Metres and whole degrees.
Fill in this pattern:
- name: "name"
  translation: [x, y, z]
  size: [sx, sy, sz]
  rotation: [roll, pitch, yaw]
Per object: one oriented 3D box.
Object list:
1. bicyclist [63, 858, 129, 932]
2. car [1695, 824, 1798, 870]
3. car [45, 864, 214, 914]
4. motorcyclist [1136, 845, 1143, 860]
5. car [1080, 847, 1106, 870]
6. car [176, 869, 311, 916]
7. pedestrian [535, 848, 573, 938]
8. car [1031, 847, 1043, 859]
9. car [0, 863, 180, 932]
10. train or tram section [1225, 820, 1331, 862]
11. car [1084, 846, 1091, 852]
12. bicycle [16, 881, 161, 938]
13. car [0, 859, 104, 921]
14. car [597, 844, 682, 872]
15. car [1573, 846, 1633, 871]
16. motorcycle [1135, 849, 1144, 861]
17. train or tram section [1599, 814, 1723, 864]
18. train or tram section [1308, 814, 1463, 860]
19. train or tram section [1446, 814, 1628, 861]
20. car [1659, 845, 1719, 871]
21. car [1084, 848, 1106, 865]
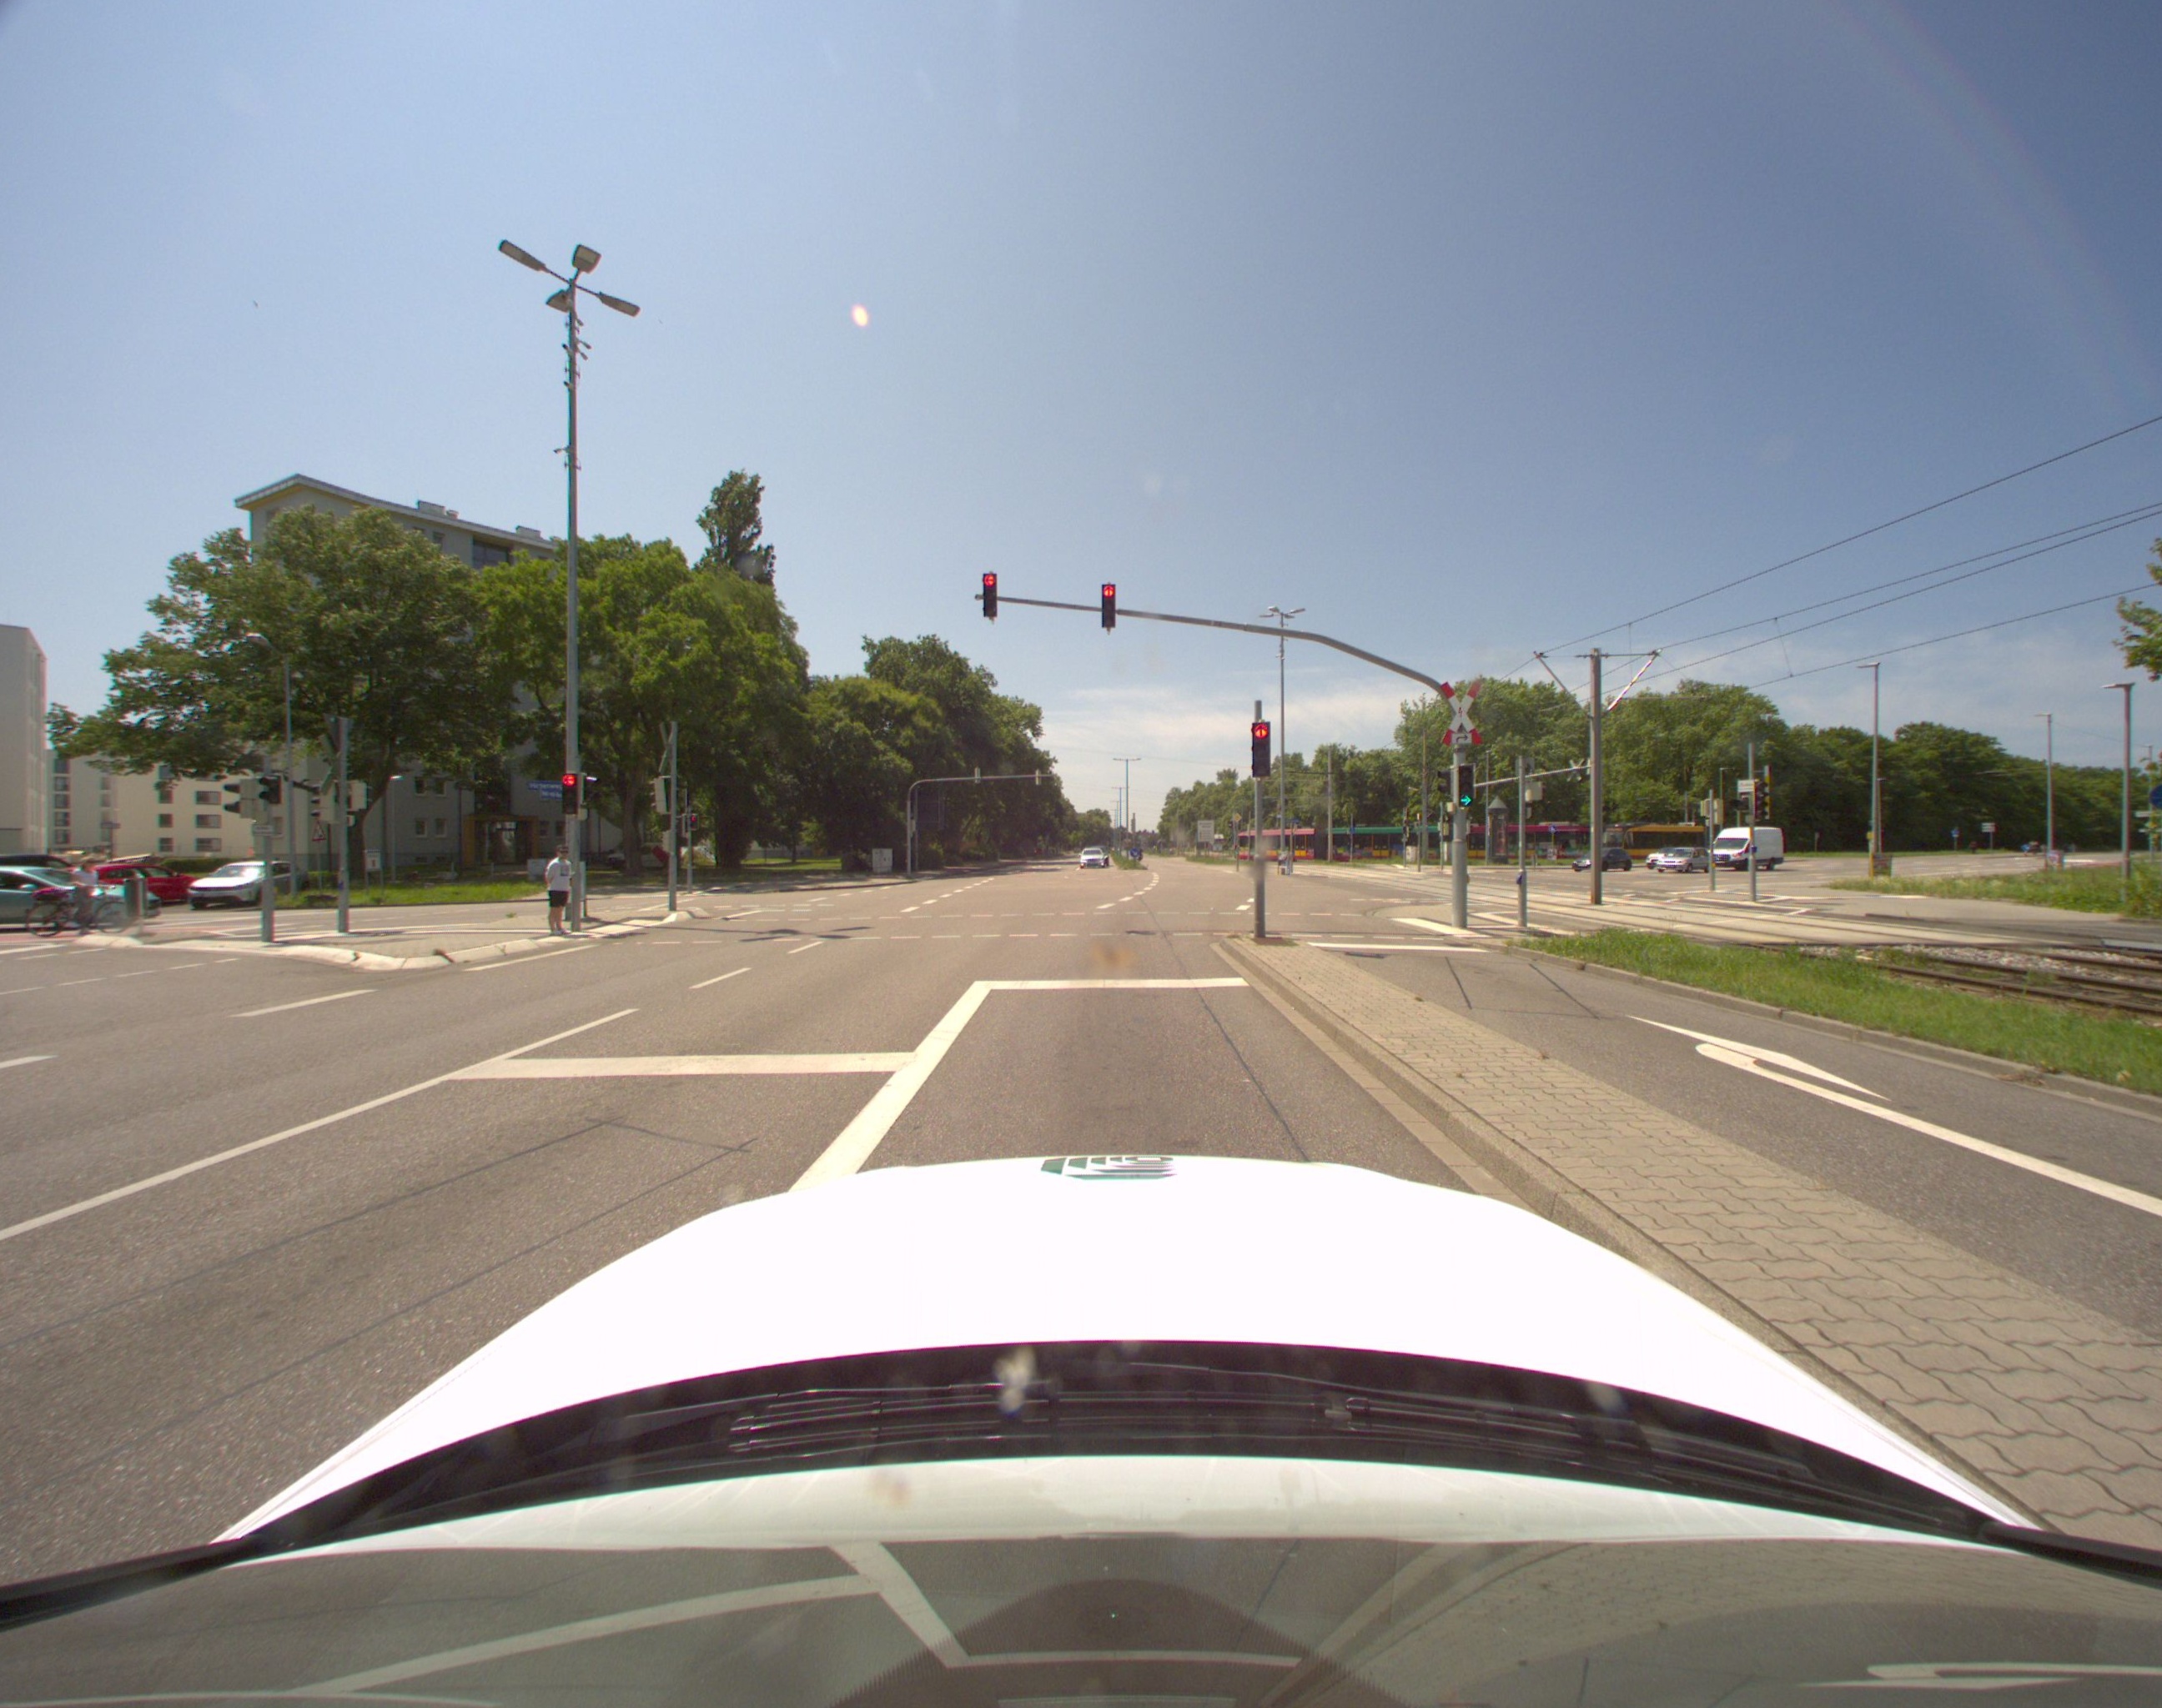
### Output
- name: "bicyclist"
  translation: [-21.044, 0.859, 17.416]
  size: [0.666, 1.537, 0.627]
  rotation: [0, 0, -21]
- name: "car"
  translation: [42.511, -0.454, 51.965]
  size: [7.305, 2.802, 2.691]
  rotation: [-1, 0, -30]
- name: "car"
  translation: [-31.517, 1.102, 27.159]
  size: [1.620, 1.464, 3.981]
  rotation: [1, 0, -14]
- name: "motorcyclist"
  translation: [6.527, -0.213, 90.992]
  size: [0.787, 1.643, 1.212]
  rotation: [1, 0, 3]
- name: "car"
  translation: [0.905, 0.294, 60.148]
  size: [1.777, 1.628, 3.868]
  rotation: [0, 0, 2]
- name: "car"
  translation: [-28.790, 1.271, 28.181]
  size: [1.629, 1.380, 3.974]
  rotation: [1, 0, -19]
- name: "pedestrian"
  translation: [-10.018, 0.727, 15.491]
  size: [0.381, 1.687, 0.485]
  rotation: [0, 0, -2]
- name: "car"
  translation: [-8.081, -0.143, 151.057]
  size: [1.988, 2.013, 3.998]
  rotation: [3, 0, -1]
- name: "car"
  translation: [-24.102, 0.992, 18.881]
  size: [3.901, 1.468, 1.762]
  rotation: [-1, 0, -23]
- name: "train or tram section"
  translation: [20.299, -1.195, 85.223]
  size: [2.931, 3.812, 12.952]
  rotation: [2, -3, -28]
- name: "car"
  translation: [1.547, -1.316, 201.641]
  size: [1.664, 1.490, 3.713]
  rotation: [0, 0, 2]
- name: "bicycle"
  translation: [-21.139, 1.162, 17.385]
  size: [1.870, 1.093, 0.642]
  rotation: [-1, 0, -21]
- name: "car"
  translation: [-34.194, 1.099, 26.229]
  size: [1.710, 1.800, 3.973]
  rotation: [1, 0, -20]
- name: "car"
  translation: [-28.919, 0.233, 53.398]
  size: [1.769, 1.768, 4.577]
  rotation: [0, 0, 42]
- name: "car"
  translation: [31.685, 0.251, 49.387]
  size: [3.519, 1.463, 1.625]
  rotation: [-1, 0, -30]
- name: "motorcycle"
  translation: [6.541, 0.114, 90.983]
  size: [0.844, 1.255, 2.450]
  rotation: [1, 0, 2]
- name: "train or tram section"
  translation: [53.109, -1.210, 74.383]
  size: [13.989, 3.920, 2.898]
  rotation: [2, -3, -26]
- name: "train or tram section"
  translation: [28.181, -1.430, 76.115]
  size: [13.282, 3.812, 2.942]
  rotation: [-1, -3, 36]
- name: "train or tram section"
  translation: [39.965, -1.436, 71.891]
  size: [13.918, 3.920, 2.930]
  rotation: [0, -3, 8]
- name: "car"
  translation: [35.716, 0.222, 47.806]
  size: [3.820, 1.463, 1.623]
  rotation: [-1, 0, -33]
- name: "car"
  translation: [1.204, 0.155, 67.485]
  size: [1.704, 1.365, 3.868]
  rotation: [0, 0, 2]
